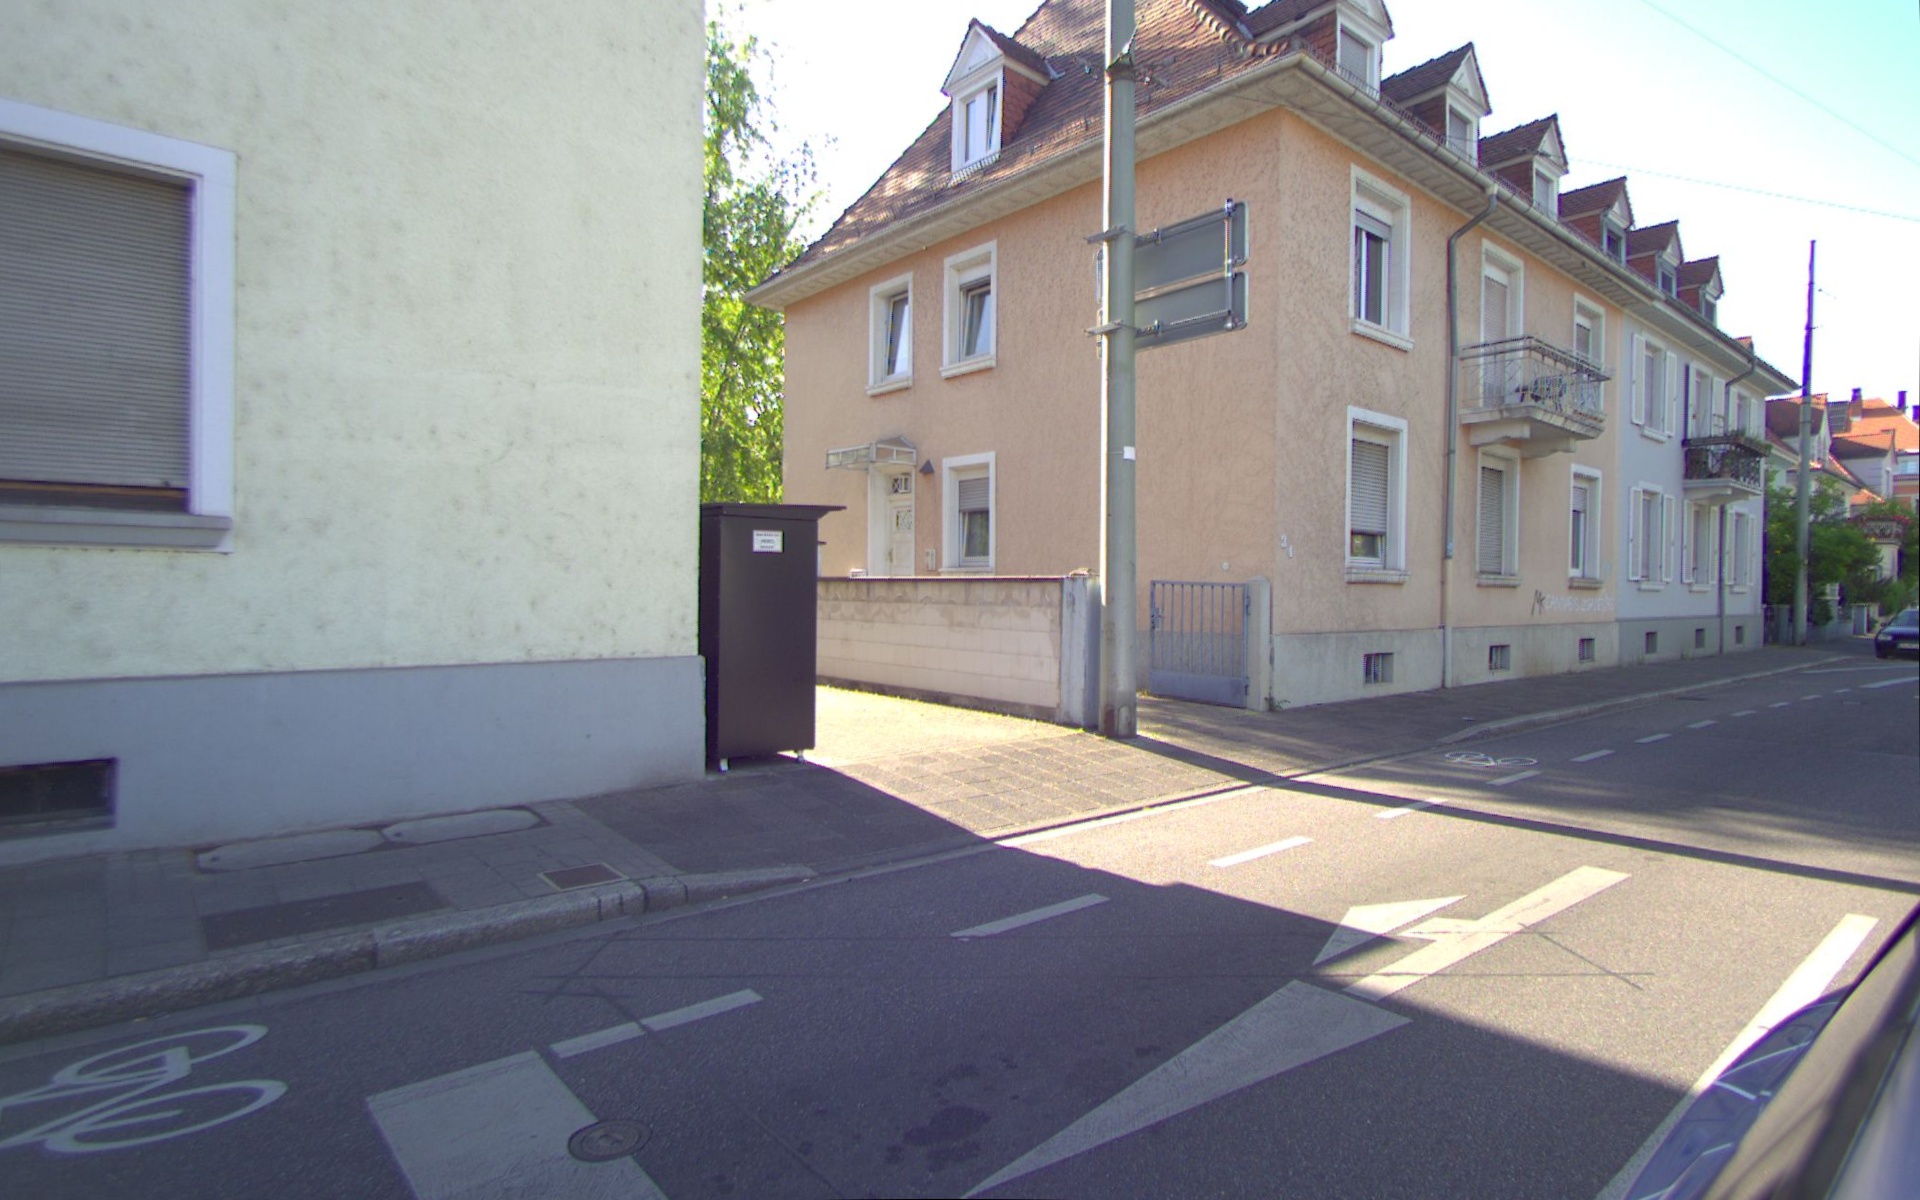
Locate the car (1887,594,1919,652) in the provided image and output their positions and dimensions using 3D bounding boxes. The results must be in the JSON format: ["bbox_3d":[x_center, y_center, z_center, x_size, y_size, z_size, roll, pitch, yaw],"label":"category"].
[{"bbox_3d":[26.584,0.593,27.349,3.930,1.476,1.839,-1,0,-41],"label":"car"}]
